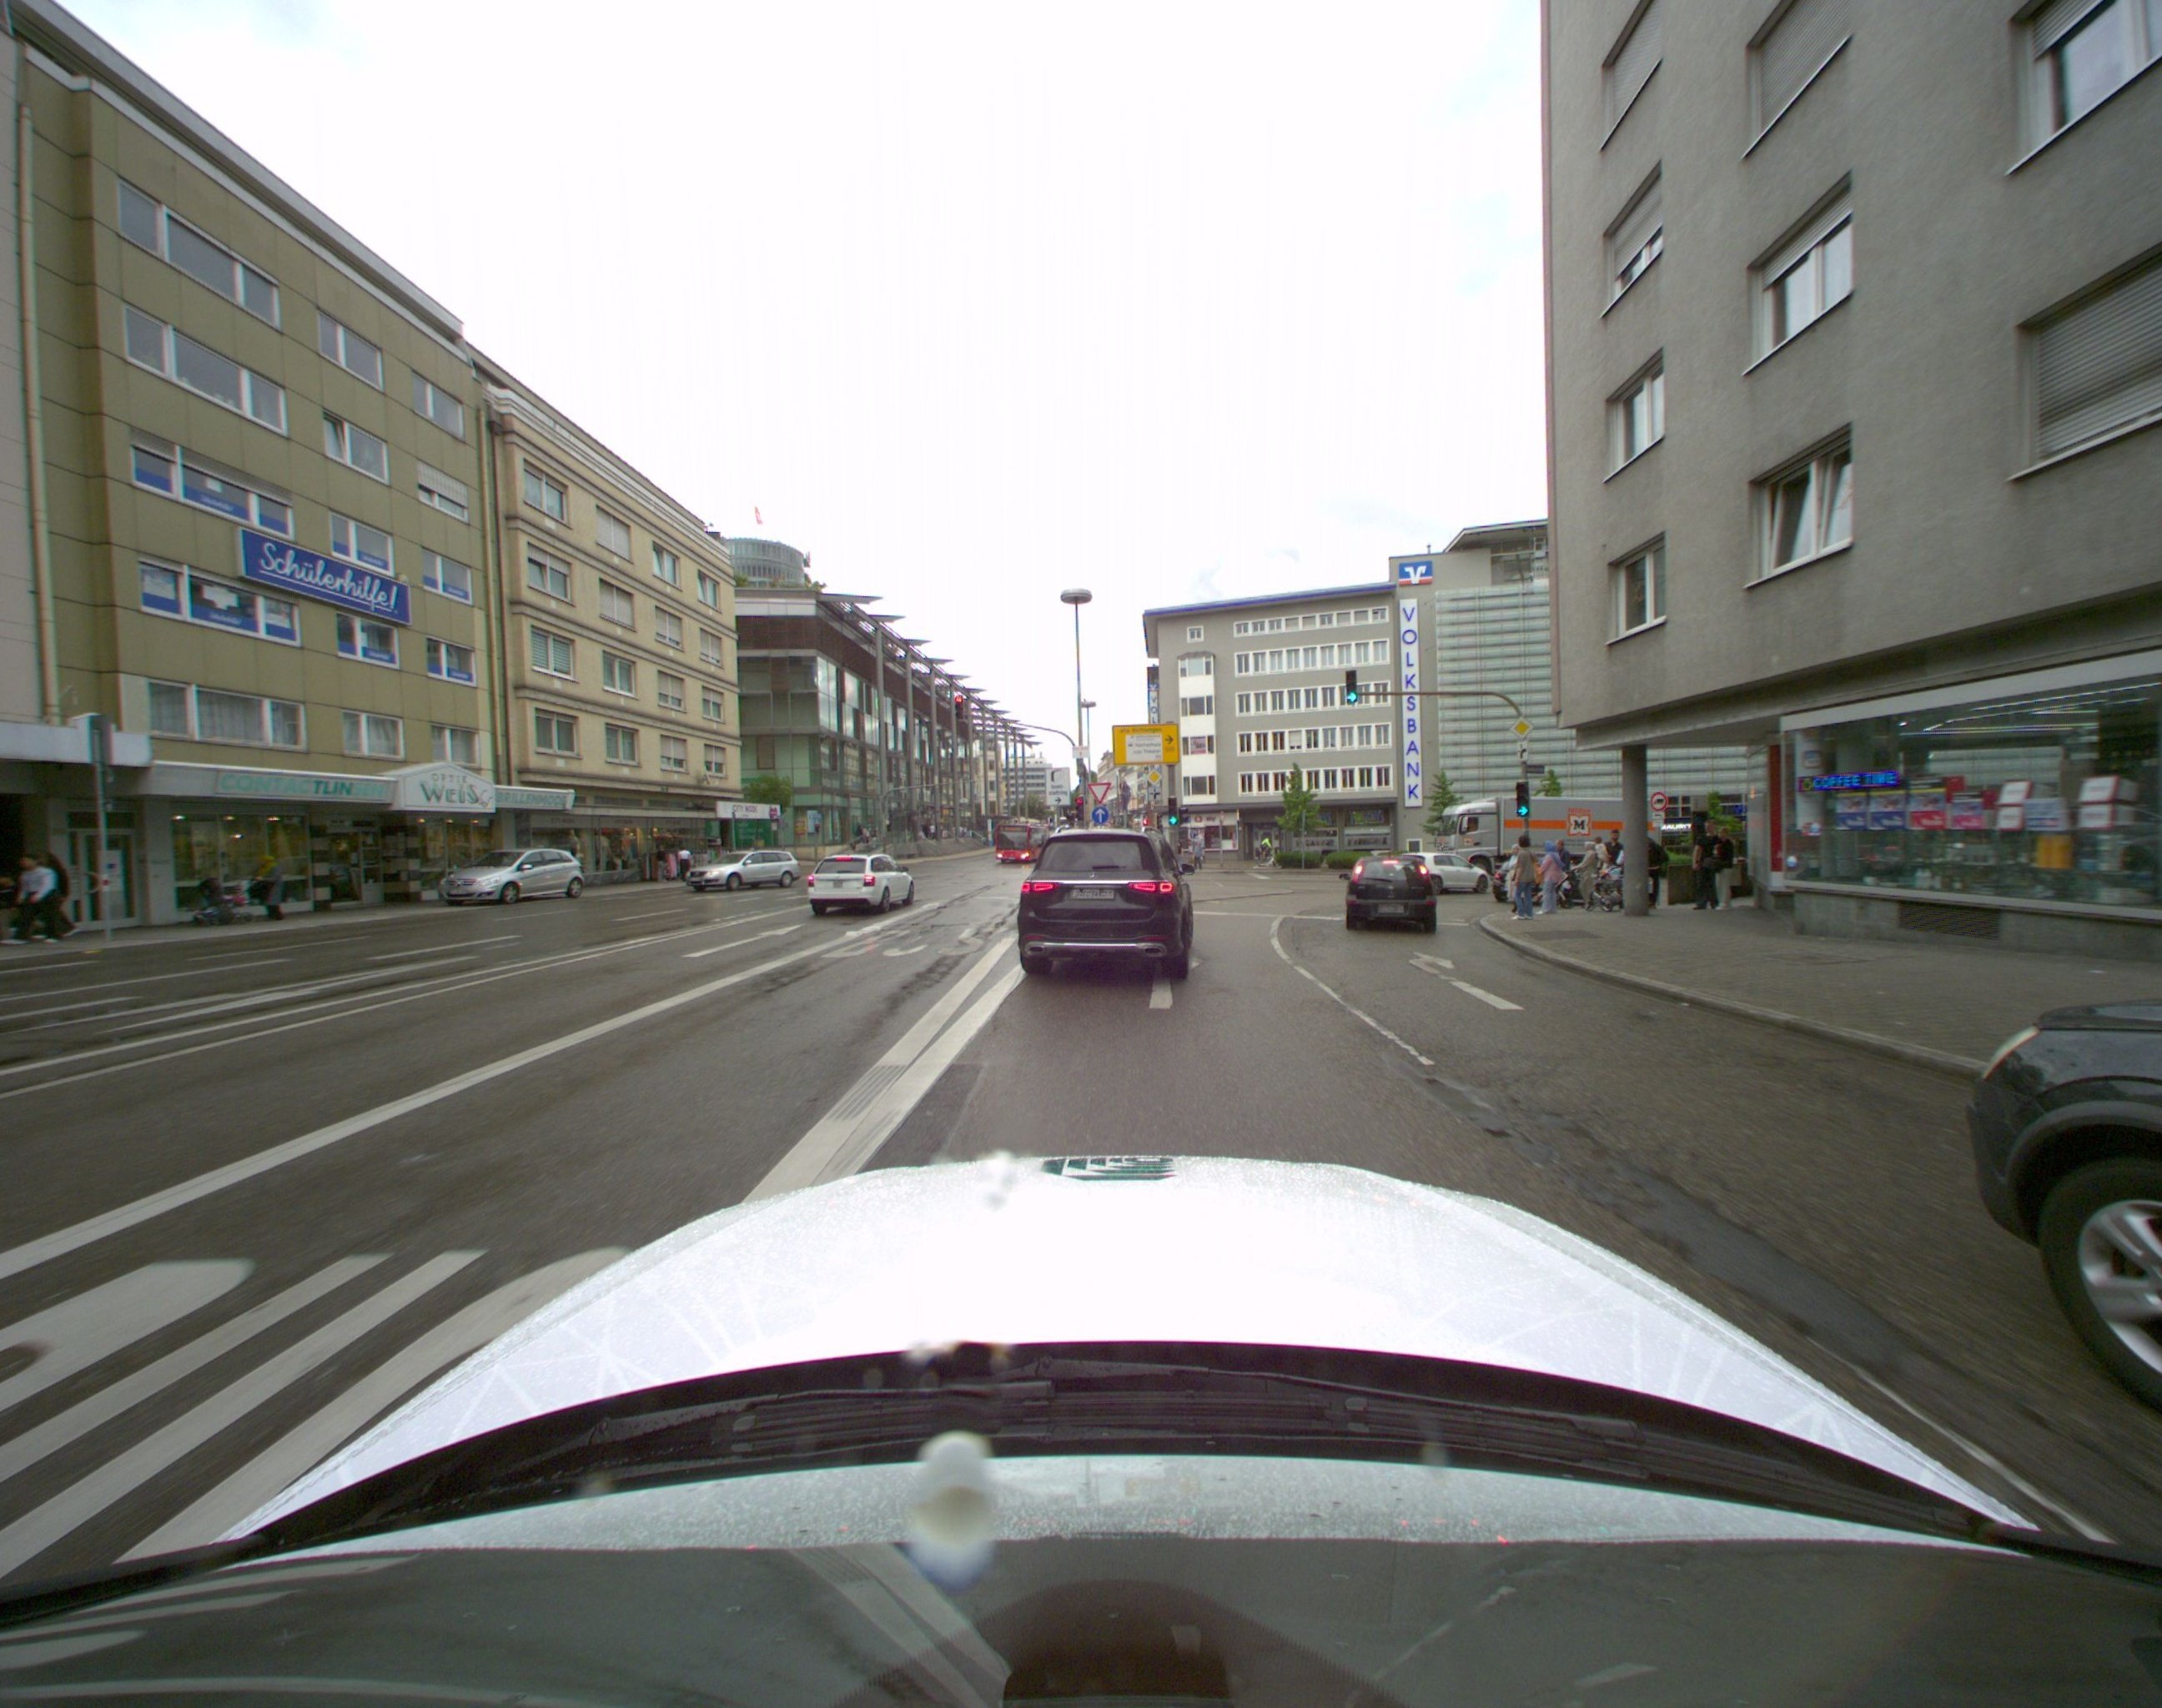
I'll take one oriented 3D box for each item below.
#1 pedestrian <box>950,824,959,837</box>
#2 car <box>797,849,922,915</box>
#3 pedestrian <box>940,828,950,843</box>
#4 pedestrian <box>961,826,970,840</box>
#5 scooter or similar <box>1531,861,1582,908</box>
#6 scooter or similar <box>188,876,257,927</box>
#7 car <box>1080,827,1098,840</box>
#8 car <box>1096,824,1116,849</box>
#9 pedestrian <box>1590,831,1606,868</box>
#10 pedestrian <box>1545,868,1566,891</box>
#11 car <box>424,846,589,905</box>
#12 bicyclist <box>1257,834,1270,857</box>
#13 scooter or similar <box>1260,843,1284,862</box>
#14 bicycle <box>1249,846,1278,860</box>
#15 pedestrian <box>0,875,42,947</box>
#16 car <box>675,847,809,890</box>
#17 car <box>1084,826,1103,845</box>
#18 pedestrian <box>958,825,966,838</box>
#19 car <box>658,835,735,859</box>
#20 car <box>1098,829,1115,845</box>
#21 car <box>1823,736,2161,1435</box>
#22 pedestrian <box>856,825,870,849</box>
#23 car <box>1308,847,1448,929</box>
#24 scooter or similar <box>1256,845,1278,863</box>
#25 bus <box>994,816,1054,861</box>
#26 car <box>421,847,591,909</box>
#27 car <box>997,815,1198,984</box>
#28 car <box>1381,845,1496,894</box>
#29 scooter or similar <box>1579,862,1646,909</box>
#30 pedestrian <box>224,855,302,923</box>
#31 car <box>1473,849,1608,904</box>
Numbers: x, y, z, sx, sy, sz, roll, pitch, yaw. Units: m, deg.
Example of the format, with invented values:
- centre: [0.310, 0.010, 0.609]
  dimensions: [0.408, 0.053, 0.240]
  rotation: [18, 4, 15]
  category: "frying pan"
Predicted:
- centre: [-16.453, -3.087, 105.689]
  dimensions: [1.036, 1.712, 1.007]
  rotation: [0, 1, -3]
  category: "pedestrian"
- centre: [-5.521, 0.621, 20.915]
  dimensions: [1.785, 1.415, 4.634]
  rotation: [-1, 1, 2]
  category: "car"
- centre: [-15.932, -2.157, 95.748]
  dimensions: [1.036, 1.712, 1.007]
  rotation: [0, 1, -3]
  category: "pedestrian"
- centre: [-14.205, -2.530, 100.405]
  dimensions: [1.036, 1.712, 1.007]
  rotation: [0, 1, -3]
  category: "pedestrian"
- centre: [12.014, 0.768, 20.596]
  dimensions: [0.961, 1.109, 0.658]
  rotation: [-3, -1, 21]
  category: "scooter or similar"
- centre: [-18.792, 1.034, 17.834]
  dimensions: [0.734, 1.054, 0.701]
  rotation: [0, 2, 0]
  category: "scooter or similar"
- centre: [1.115, -2.787, 112.721]
  dimensions: [2.413, 1.780, 5.157]
  rotation: [1, 1, 2]
  category: "car"
- centre: [3.112, -2.208, 102.670]
  dimensions: [2.436, 2.957, 6.153]
  rotation: [0, 1, 0]
  category: "car"
- centre: [11.882, -0.112, 18.721]
  dimensions: [0.218, 0.847, 0.443]
  rotation: [1, 1, 23]
  category: "pedestrian"
- centre: [12.005, 0.643, 20.628]
  dimensions: [0.368, 0.571, 0.461]
  rotation: [-3, 0, 21]
  category: "pedestrian"
- centre: [-16.924, 0.578, 24.292]
  dimensions: [1.692, 1.563, 4.207]
  rotation: [0, 1, 4]
  category: "car"
- centre: [13.631, -0.646, 60.875]
  dimensions: [0.838, 1.704, 0.626]
  rotation: [-1, 0, 16]
  category: "bicyclist"
- centre: [13.151, -0.118, 55.958]
  dimensions: [1.484, 1.256, 0.936]
  rotation: [0, 1, 22]
  category: "scooter or similar"
- centre: [13.647, -0.060, 60.882]
  dimensions: [2.121, 0.993, 0.697]
  rotation: [-1, 1, 16]
  category: "bicycle"
- centre: [-19.498, 1.021, 14.689]
  dimensions: [0.532, 1.249, 0.721]
  rotation: [0, 2, 1]
  category: "pedestrian"
- centre: [-12.689, 0.479, 30.866]
  dimensions: [1.770, 1.445, 4.780]
  rotation: [0, 1, 23]
  category: "car"
- centre: [2.398, -3.483, 154.680]
  dimensions: [2.428, 3.465, 6.174]
  rotation: [1, 1, 12]
  category: "car"
- centre: [-15.472, -2.938, 105.791]
  dimensions: [0.935, 1.712, 0.991]
  rotation: [0, 1, -3]
  category: "pedestrian"
- centre: [-25.857, -0.476, 54.888]
  dimensions: [4.280, 1.546, 1.801]
  rotation: [1, 1, -8]
  category: "car"
- centre: [2.937, -1.975, 96.111]
  dimensions: [1.855, 1.826, 4.103]
  rotation: [0, 1, 0]
  category: "car"
- centre: [3.653, 0.617, 0.880]
  dimensions: [1.900, 1.785, 4.305]
  rotation: [-1, 2, 2]
  category: "car"
- centre: [-18.445, -1.443, 68.979]
  dimensions: [0.871, 1.980, 0.850]
  rotation: [0, 1, 2]
  category: "pedestrian"
- centre: [5.879, 0.606, 16.577]
  dimensions: [1.709, 1.420, 3.775]
  rotation: [2, 0, 5]
  category: "car"
- centre: [12.418, -0.005, 54.308]
  dimensions: [1.368, 1.187, 0.547]
  rotation: [-1, 1, 22]
  category: "scooter or similar"
- centre: [-4.516, -1.288, 69.634]
  dimensions: [2.908, 3.320, 18.493]
  rotation: [0, 1, 3]
  category: "bus"
- centre: [-16.974, 0.640, 24.355]
  dimensions: [1.840, 1.550, 4.403]
  rotation: [1, 2, 2]
  category: "car"
- centre: [0.503, 0.432, 11.294]
  dimensions: [2.075, 1.816, 4.806]
  rotation: [-1, 2, 9]
  category: "car"
- centre: [12.998, 0.509, 29.581]
  dimensions: [4.015, 1.573, 1.937]
  rotation: [-1, 3, -33]
  category: "car"
- centre: [11.695, 0.693, 17.960]
  dimensions: [0.767, 0.986, 1.048]
  rotation: [-2, -3, 2]
  category: "scooter or similar"
- centre: [-18.779, 0.781, 18.716]
  dimensions: [0.664, 1.484, 1.065]
  rotation: [0, 2, 1]
  category: "pedestrian"
- centre: [14.987, 0.669, 26.540]
  dimensions: [4.009, 1.573, 1.939]
  rotation: [-1, 3, -27]
  category: "car"
